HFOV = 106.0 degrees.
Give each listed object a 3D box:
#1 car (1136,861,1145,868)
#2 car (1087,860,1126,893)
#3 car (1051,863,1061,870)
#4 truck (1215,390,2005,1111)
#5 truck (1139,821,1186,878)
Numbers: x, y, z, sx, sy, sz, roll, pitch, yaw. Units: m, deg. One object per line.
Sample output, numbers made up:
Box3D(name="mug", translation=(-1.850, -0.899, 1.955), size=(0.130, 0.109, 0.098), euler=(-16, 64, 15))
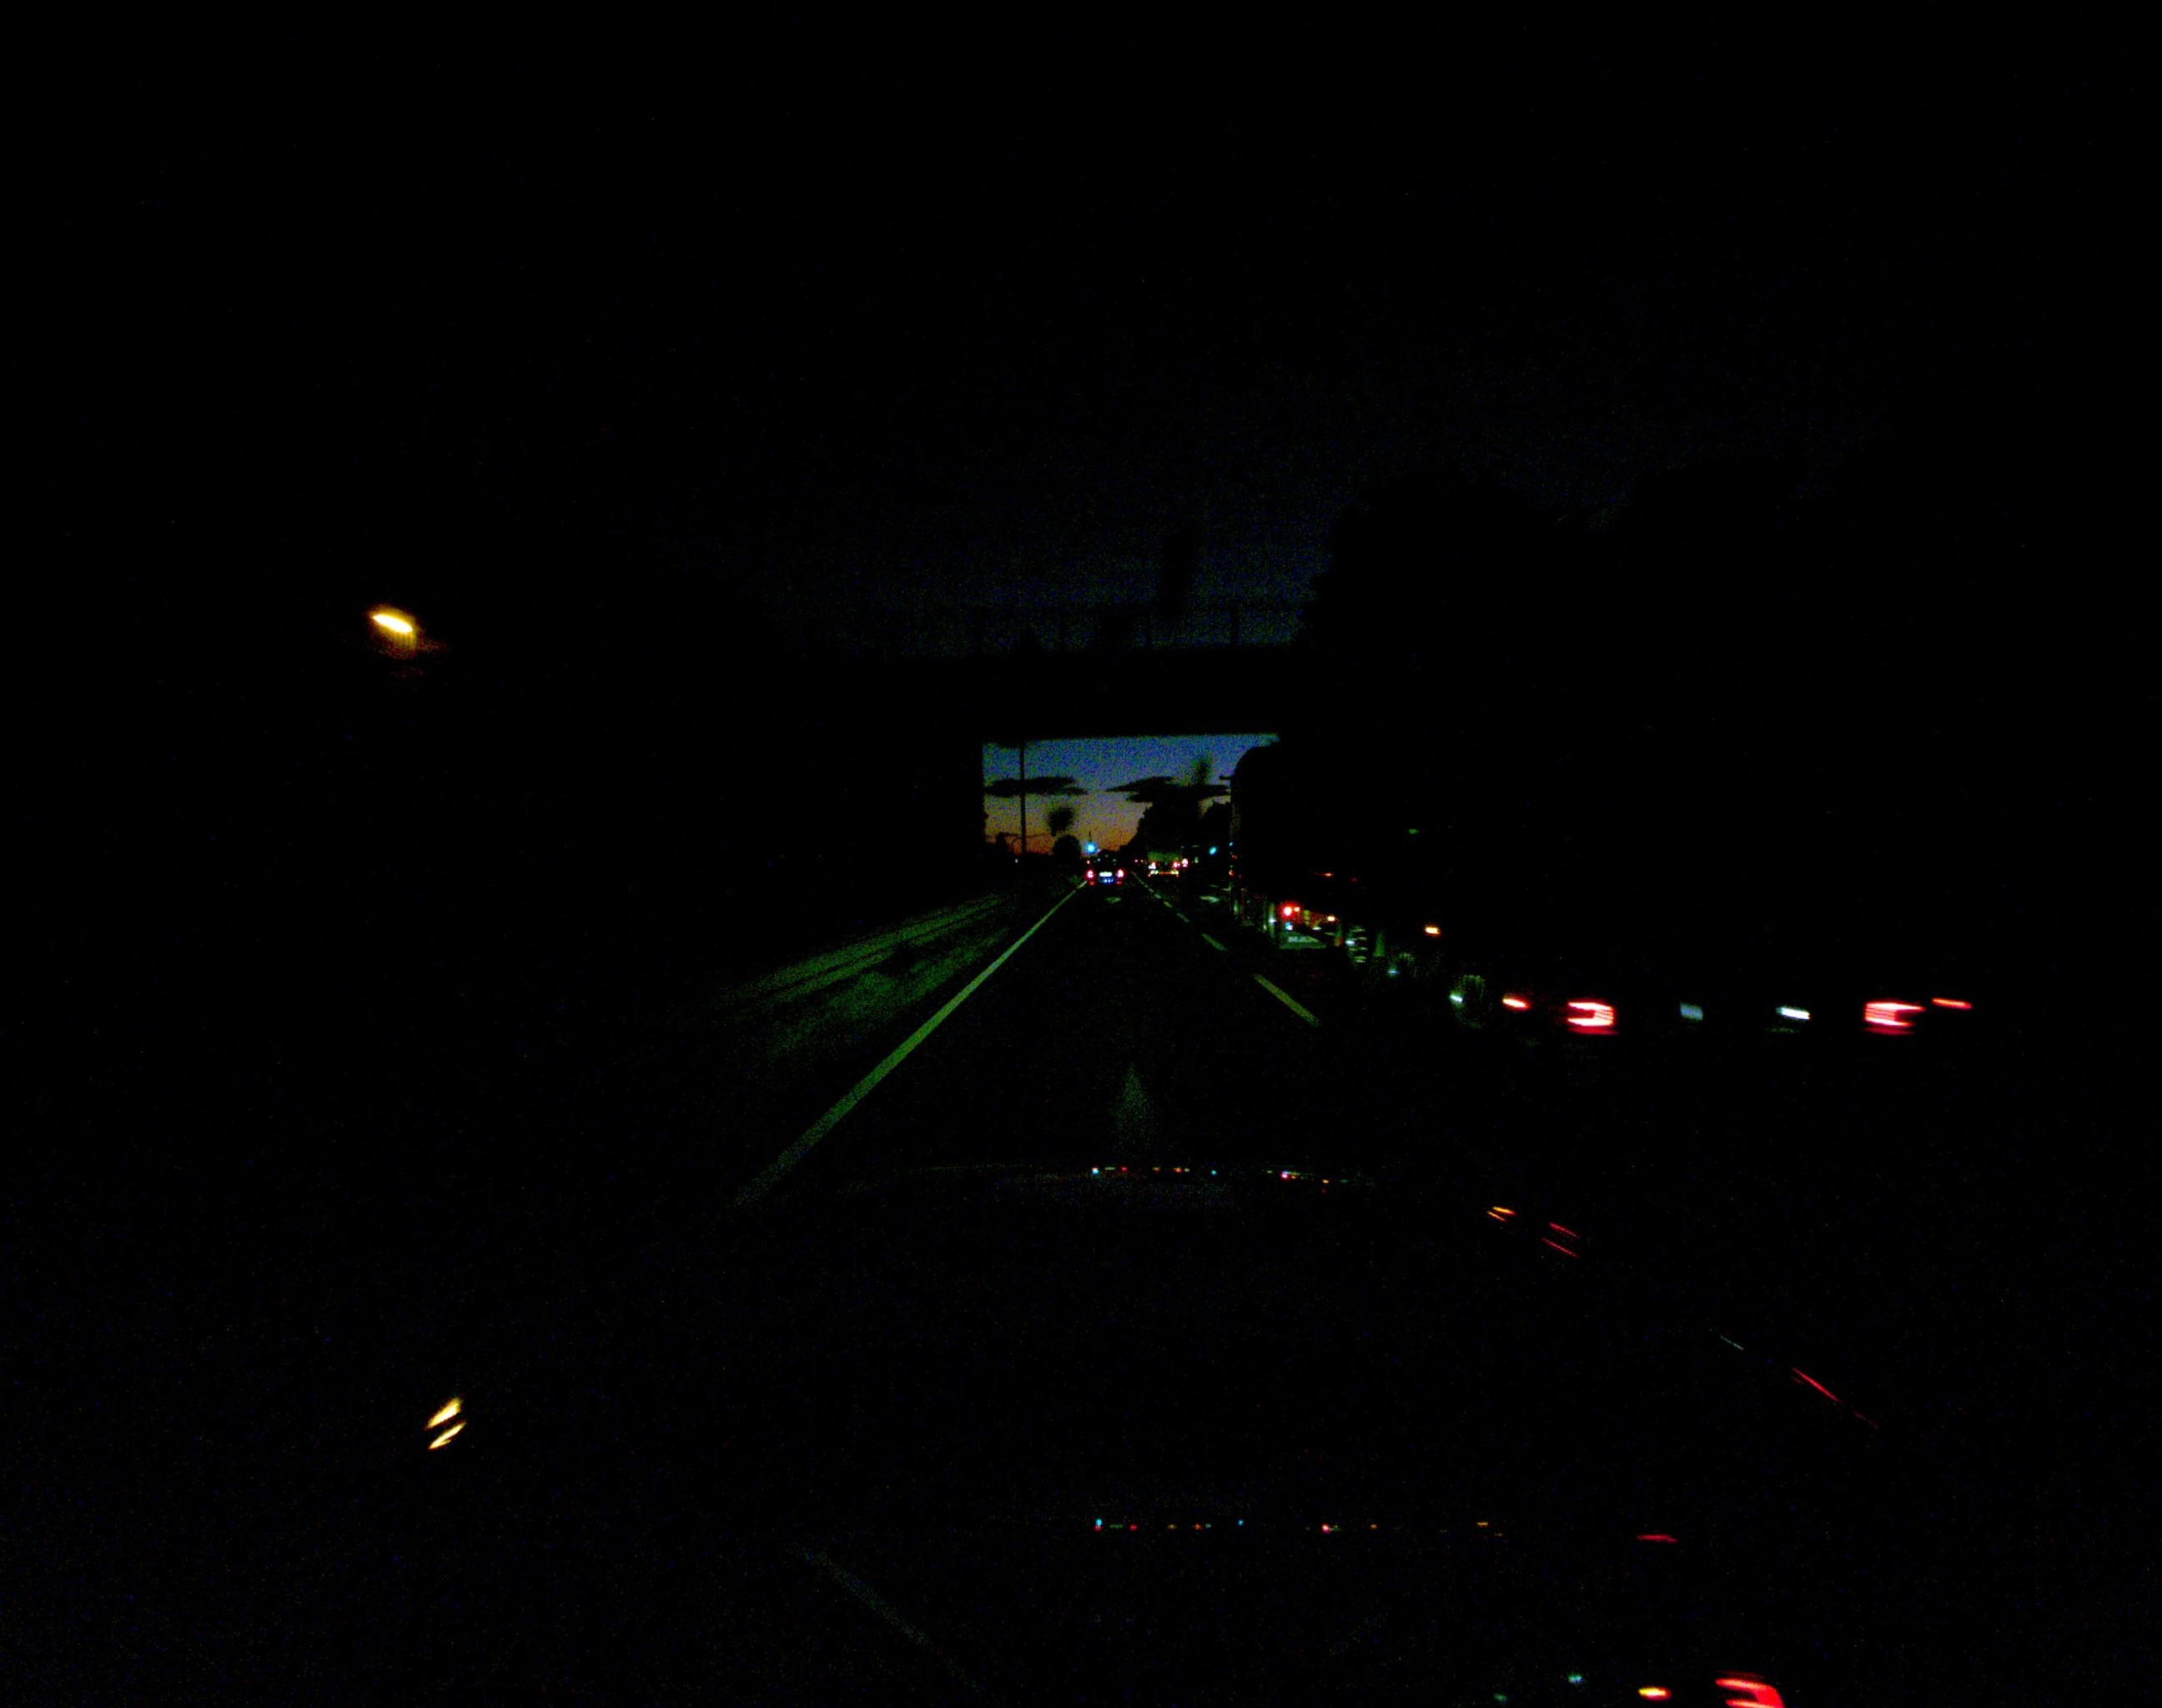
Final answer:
Box3D(name="car", translation=(12.056, 2.089, 166.288), size=(1.689, 1.452, 3.915), euler=(0, -1, 1))
Box3D(name="car", translation=(1.176, 0.999, 37.718), size=(1.689, 1.452, 3.915), euler=(0, -1, 1))
Box3D(name="car", translation=(-4.876, 2.463, 158.908), size=(1.599, 1.330, 3.940), euler=(-3, -1, 1))
Box3D(name="truck", translation=(4.082, -0.537, 11.225), size=(2.677, 4.106, 13.145), euler=(0, -1, 2))
Box3D(name="truck", translation=(6.370, -0.277, 65.750), size=(2.872, 4.106, 12.687), euler=(0, -1, 2))
